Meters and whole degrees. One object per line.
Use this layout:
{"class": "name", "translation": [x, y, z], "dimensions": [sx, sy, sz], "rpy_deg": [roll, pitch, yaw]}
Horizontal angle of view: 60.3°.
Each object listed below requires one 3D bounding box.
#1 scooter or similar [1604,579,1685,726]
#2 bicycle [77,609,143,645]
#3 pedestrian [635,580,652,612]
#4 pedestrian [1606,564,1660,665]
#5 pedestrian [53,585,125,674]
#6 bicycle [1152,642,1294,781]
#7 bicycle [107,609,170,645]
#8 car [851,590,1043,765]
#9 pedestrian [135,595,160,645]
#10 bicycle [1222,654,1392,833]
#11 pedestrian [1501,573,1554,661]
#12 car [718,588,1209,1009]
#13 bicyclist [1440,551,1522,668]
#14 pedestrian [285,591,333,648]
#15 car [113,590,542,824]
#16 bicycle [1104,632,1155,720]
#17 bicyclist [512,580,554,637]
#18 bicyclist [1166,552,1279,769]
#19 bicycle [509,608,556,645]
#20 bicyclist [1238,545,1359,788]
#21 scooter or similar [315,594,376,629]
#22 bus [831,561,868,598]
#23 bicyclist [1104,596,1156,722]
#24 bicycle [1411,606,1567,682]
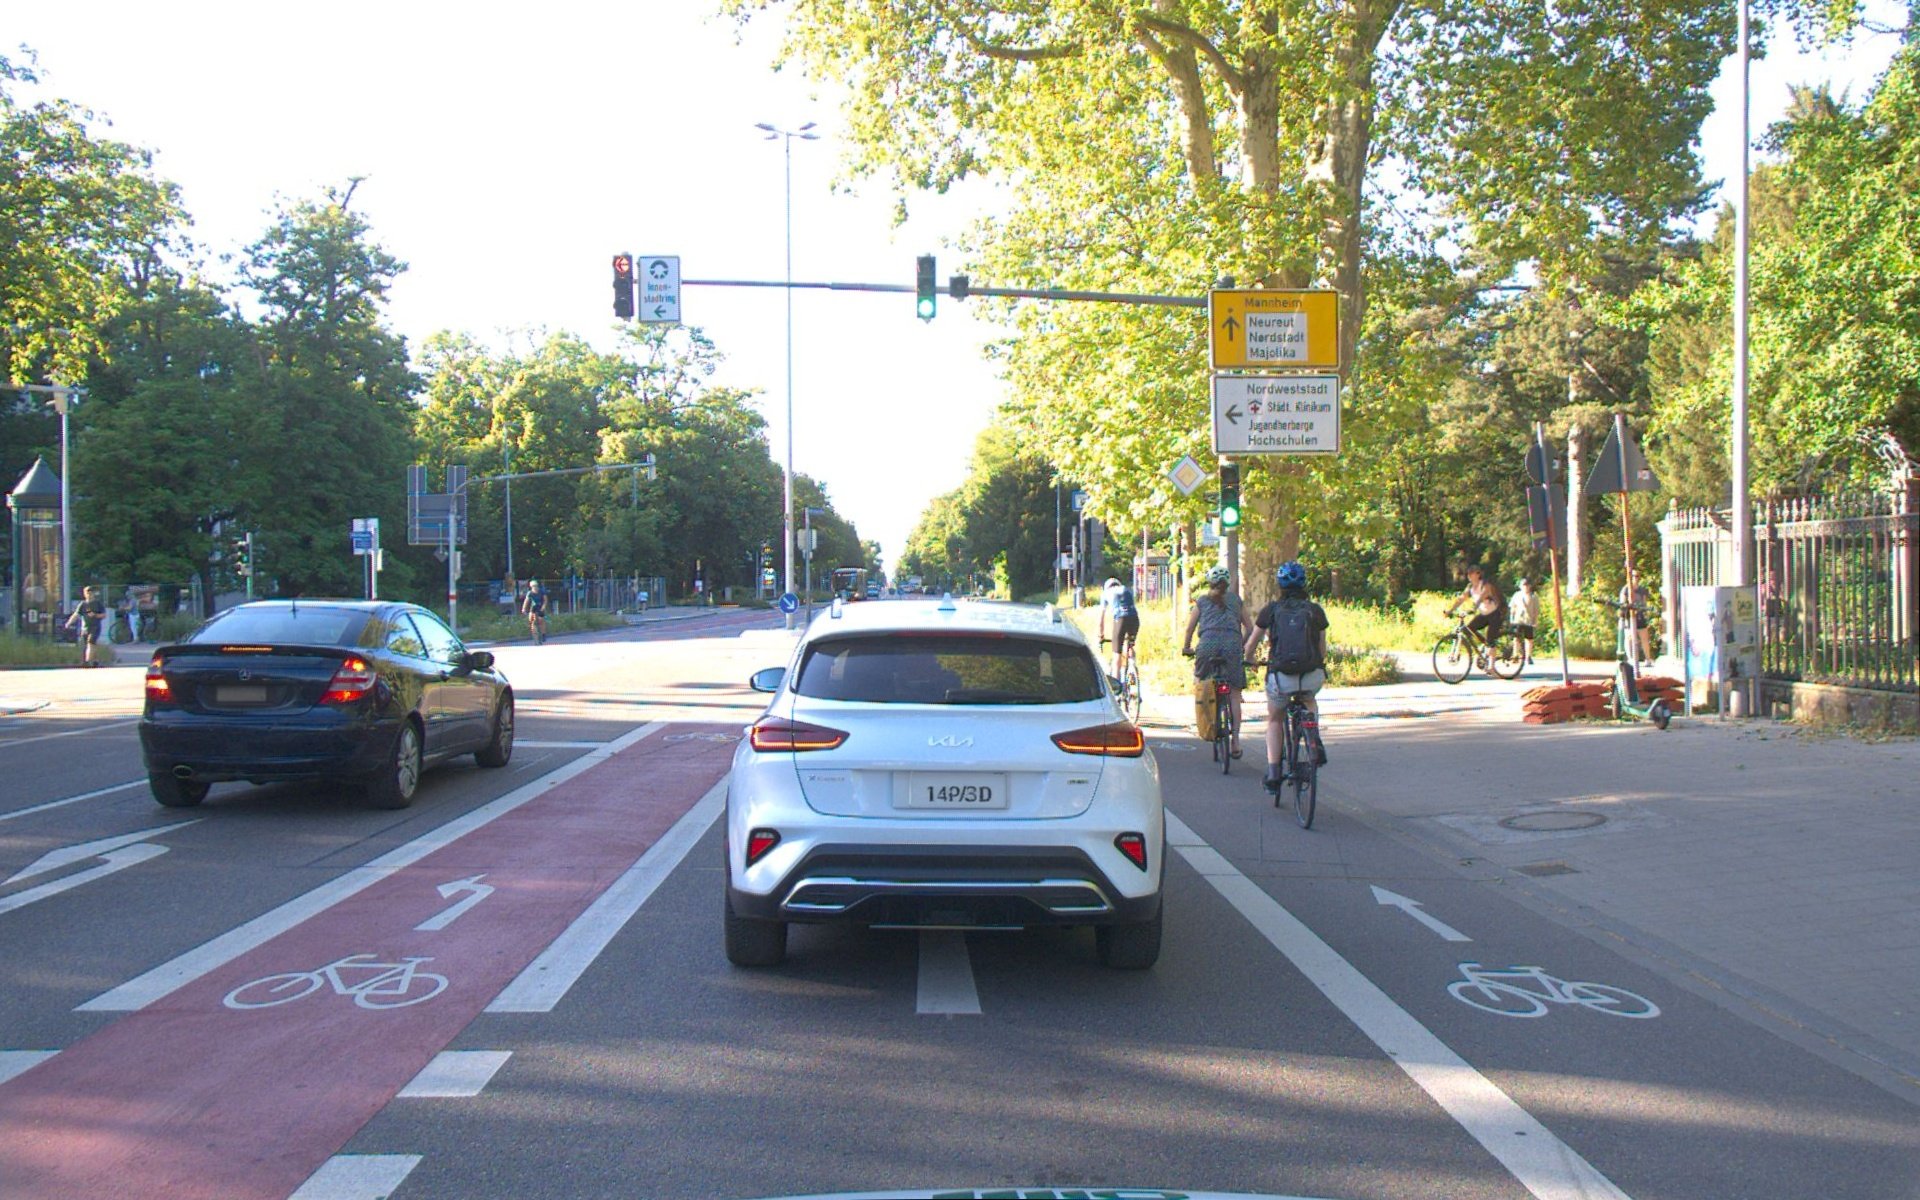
{"class": "scooter or similar", "translation": [6.527, 0.480, 15.805], "dimensions": [0.223, 1.350, 1.171], "rpy_deg": [-1, 0, -2]}
{"class": "bicycle", "translation": [-27.574, 0.882, 53.664], "dimensions": [1.826, 1.168, 0.442], "rpy_deg": [0, 0, -8]}
{"class": "pedestrian", "translation": [-18.009, -0.209, 94.084], "dimensions": [0.769, 1.817, 0.751], "rpy_deg": [0, 0, 0]}
{"class": "pedestrian", "translation": [11.743, 0.249, 28.876], "dimensions": [0.675, 1.729, 0.644], "rpy_deg": [0, 0, -1]}
{"class": "pedestrian", "translation": [-20.323, 0.684, 38.607], "dimensions": [0.974, 2.049, 1.191], "rpy_deg": [0, 0, 4]}
{"class": "bicycle", "translation": [2.297, 0.945, 14.777], "dimensions": [0.742, 1.031, 2.568], "rpy_deg": [1, 0, -2]}
{"class": "bicycle", "translation": [-26.528, 0.876, 53.407], "dimensions": [1.826, 1.168, 0.290], "rpy_deg": [0, 0, -8]}
{"class": "car", "translation": [-0.186, 0.679, 16.546], "dimensions": [1.694, 1.509, 3.515], "rpy_deg": [-1, 0, -3]}
{"class": "pedestrian", "translation": [-26.153, 0.637, 53.236], "dimensions": [0.617, 1.608, 0.444], "rpy_deg": [0, 0, -11]}
{"class": "bicycle", "translation": [2.341, 0.935, 11.403], "dimensions": [0.655, 1.027, 2.080], "rpy_deg": [1, 0, -2]}
{"class": "pedestrian", "translation": [10.125, 0.291, 29.509], "dimensions": [0.802, 1.544, 0.915], "rpy_deg": [0, 0, 25]}
{"class": "car", "translation": [-0.054, 0.699, 7.963], "dimensions": [1.785, 1.506, 3.934], "rpy_deg": [0, 1, -2]}
{"class": "bicyclist", "translation": [7.528, 0.125, 23.916], "dimensions": [0.832, 1.641, 0.733], "rpy_deg": [-2, 0, -13]}
{"class": "pedestrian", "translation": [-19.142, 0.569, 48.654], "dimensions": [1.067, 1.631, 0.999], "rpy_deg": [-1, 0, -7]}
{"class": "car", "translation": [-4.559, 0.668, 12.652], "dimensions": [1.670, 1.429, 4.264], "rpy_deg": [-1, 0, -1]}
{"class": "bicycle", "translation": [2.046, 0.901, 20.049], "dimensions": [0.393, 0.973, 1.551], "rpy_deg": [-3, 0, 0]}
{"class": "bicyclist", "translation": [-12.516, 0.241, 48.496], "dimensions": [0.857, 1.636, 1.188], "rpy_deg": [-1, 0, 1]}
{"class": "bicyclist", "translation": [2.307, 0.512, 14.656], "dimensions": [0.738, 1.827, 1.164], "rpy_deg": [1, 0, -2]}
{"class": "bicycle", "translation": [-12.506, 0.755, 48.457], "dimensions": [0.650, 1.006, 2.504], "rpy_deg": [-1, 1, 1]}
{"class": "bicyclist", "translation": [2.342, 0.443, 11.511], "dimensions": [0.652, 1.630, 0.720], "rpy_deg": [1, 0, -2]}
{"class": "scooter or similar", "translation": [-20.776, 0.380, 55.976], "dimensions": [0.697, 1.144, 1.916], "rpy_deg": [0, 0, 32]}
{"class": "bus", "translation": [-11.630, -2.116, 174.636], "dimensions": [3.667, 3.737, 13.230], "rpy_deg": [-1, 1, -4]}
{"class": "bicyclist", "translation": [2.062, 0.704, 20.100], "dimensions": [0.543, 1.504, 0.716], "rpy_deg": [0, 0, -1]}
{"class": "bicycle", "translation": [7.652, 0.623, 23.944], "dimensions": [2.057, 0.993, 0.748], "rpy_deg": [-2, 1, -14]}
